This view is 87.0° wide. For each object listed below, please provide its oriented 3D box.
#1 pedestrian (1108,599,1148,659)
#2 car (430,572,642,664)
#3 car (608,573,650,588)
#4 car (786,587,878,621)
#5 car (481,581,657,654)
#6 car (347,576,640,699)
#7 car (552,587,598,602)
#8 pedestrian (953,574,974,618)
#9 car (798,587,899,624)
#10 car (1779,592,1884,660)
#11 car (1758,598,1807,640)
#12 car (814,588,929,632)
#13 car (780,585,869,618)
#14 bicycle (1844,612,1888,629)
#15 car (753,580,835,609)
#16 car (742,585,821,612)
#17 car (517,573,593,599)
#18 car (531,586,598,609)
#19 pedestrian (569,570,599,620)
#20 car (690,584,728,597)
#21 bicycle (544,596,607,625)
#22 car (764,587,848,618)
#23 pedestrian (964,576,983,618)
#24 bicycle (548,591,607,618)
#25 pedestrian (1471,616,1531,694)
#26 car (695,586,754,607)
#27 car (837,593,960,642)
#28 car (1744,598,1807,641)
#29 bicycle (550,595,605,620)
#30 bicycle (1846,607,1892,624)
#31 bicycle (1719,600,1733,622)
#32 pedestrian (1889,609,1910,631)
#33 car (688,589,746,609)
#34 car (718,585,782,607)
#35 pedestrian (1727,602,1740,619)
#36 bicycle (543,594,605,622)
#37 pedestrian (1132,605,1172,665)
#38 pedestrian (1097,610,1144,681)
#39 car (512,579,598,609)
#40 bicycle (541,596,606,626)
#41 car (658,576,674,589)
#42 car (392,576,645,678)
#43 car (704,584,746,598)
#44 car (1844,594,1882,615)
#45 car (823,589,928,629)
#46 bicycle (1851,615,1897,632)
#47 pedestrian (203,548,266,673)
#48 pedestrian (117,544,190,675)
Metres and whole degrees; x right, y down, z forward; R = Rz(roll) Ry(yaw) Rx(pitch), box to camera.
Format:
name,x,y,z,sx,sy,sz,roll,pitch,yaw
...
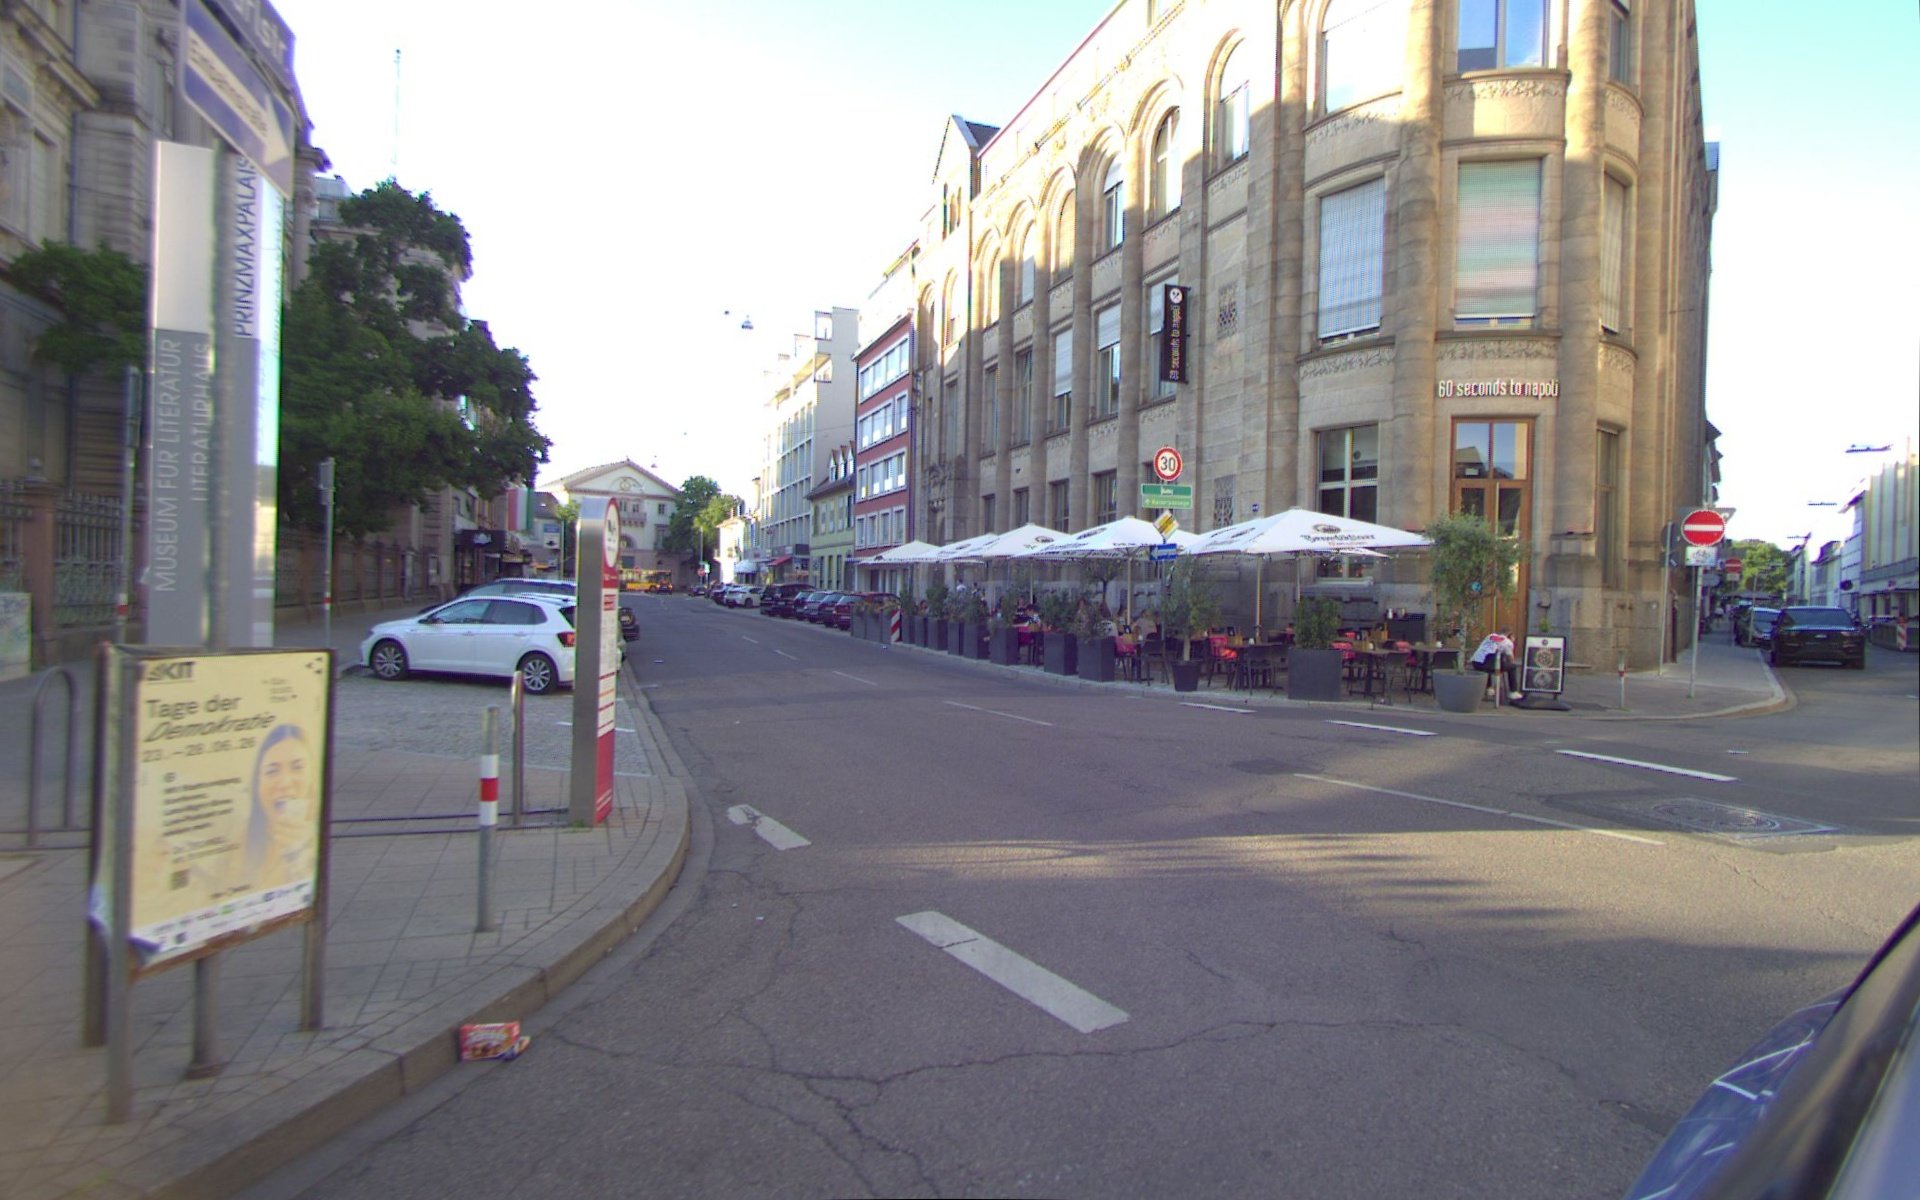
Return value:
name,x,y,z,sx,sy,sz,roll,pitch,yaw
pedestrian,3.593,0.617,21.664,0.588,1.261,0.687,1,0,-17
car,-9.055,0.335,21.670,3.944,1.742,1.746,2,1,16
car,-41.721,-2.426,127.626,4.784,1.758,1.754,0,0,-38
car,-5.555,0.142,44.356,1.745,1.430,3.978,0,0,37
car,-9.463,0.374,24.481,3.957,1.628,1.741,0,0,24
car,-7.339,0.540,16.107,3.847,1.464,1.751,5,1,8
car,-35.389,-0.508,93.192,3.916,1.430,1.759,0,0,-19
pedestrian,0.146,-0.171,40.944,0.616,1.752,0.598,1,0,-26
car,-4.455,0.200,40.994,1.745,1.430,4.127,0,0,37
car,25.523,0.718,29.794,1.989,1.806,4.868,1,0,37
car,37.679,0.856,46.404,1.667,1.829,4.179,0,0,39
car,-2.998,0.325,35.135,1.745,1.430,4.052,0,0,37
car,-6.231,0.048,46.780,1.745,1.430,4.090,0,0,37
bicycle,68.994,1.534,77.077,2.476,1.193,0.771,1,0,45
car,-8.470,-0.266,52.064,1.745,1.430,4.144,0,0,37
car,-9.830,-0.118,55.864,1.904,1.430,4.144,0,0,37
car,-22.912,-0.773,57.358,3.916,1.430,1.759,0,0,-19
car,-25.108,-0.190,64.323,3.916,1.430,1.759,0,0,-19
pedestrian,-13.594,-0.177,36.622,0.953,1.772,1.005,1,0,-18
car,-28.120,-1.034,113.387,3.916,1.430,1.759,0,0,-19
bicycle,-14.940,0.405,39.290,2.254,1.104,0.718,0,0,-24
car,-7.476,0.104,49.479,1.745,1.430,4.052,0,0,37
pedestrian,0.572,-0.140,42.524,0.585,1.752,0.630,1,0,-24
bicycle,-15.908,0.190,42.053,2.254,1.104,0.718,0,0,-24
pedestrian,8.734,0.871,16.339,0.807,1.204,0.607,1,-1,-41
car,-16.680,-0.276,71.795,1.745,1.430,3.958,0,0,37
car,-1.894,0.504,32.300,1.745,1.430,4.015,0,0,37
car,33.994,0.780,42.275,1.768,1.687,3.949,1,1,35
bicycle,-17.083,0.340,45.170,2.254,1.104,0.718,0,0,-24
bicycle,66.493,1.103,74.042,2.476,1.193,0.771,1,0,45
bicycle,42.156,0.602,55.675,0.518,1.103,1.728,6,3,38
pedestrian,46.597,0.986,50.199,0.629,1.081,0.554,0,0,31
car,-17.743,-0.082,74.087,1.745,1.430,3.958,0,0,37
car,-13.870,-0.290,67.051,1.745,1.430,4.023,0,0,37
pedestrian,58.787,0.778,76.904,0.734,1.258,0.637,0,0,40
bicycle,-15.282,0.310,40.078,2.254,1.104,0.718,0,0,-24
pedestrian,3.959,0.724,20.842,0.588,1.204,0.574,1,0,-17
pedestrian,2.980,0.826,18.735,0.680,1.261,0.594,1,0,30
car,-20.108,-0.308,50.386,3.916,1.430,1.759,0,0,-19
bicycle,-14.589,0.417,38.223,2.254,1.104,0.718,0,0,-24
car,-35.607,-2.096,122.407,1.718,1.430,4.008,0,0,-18
car,-8.156,0.465,18.856,3.934,1.544,1.751,4,1,8
car,-23.181,-0.884,99.819,3.916,1.430,1.759,0,0,-19
car,73.100,0.364,81.951,1.990,1.697,4.397,1,0,38
car,-3.141,0.296,38.251,1.745,1.430,4.015,0,0,37
bicycle,67.884,1.756,75.171,2.476,1.193,0.771,1,0,45
pedestrian,-10.175,0.146,14.211,0.630,1.691,0.706,3,-1,-34
pedestrian,-10.737,0.123,13.493,0.630,1.691,0.706,3,-1,-34
